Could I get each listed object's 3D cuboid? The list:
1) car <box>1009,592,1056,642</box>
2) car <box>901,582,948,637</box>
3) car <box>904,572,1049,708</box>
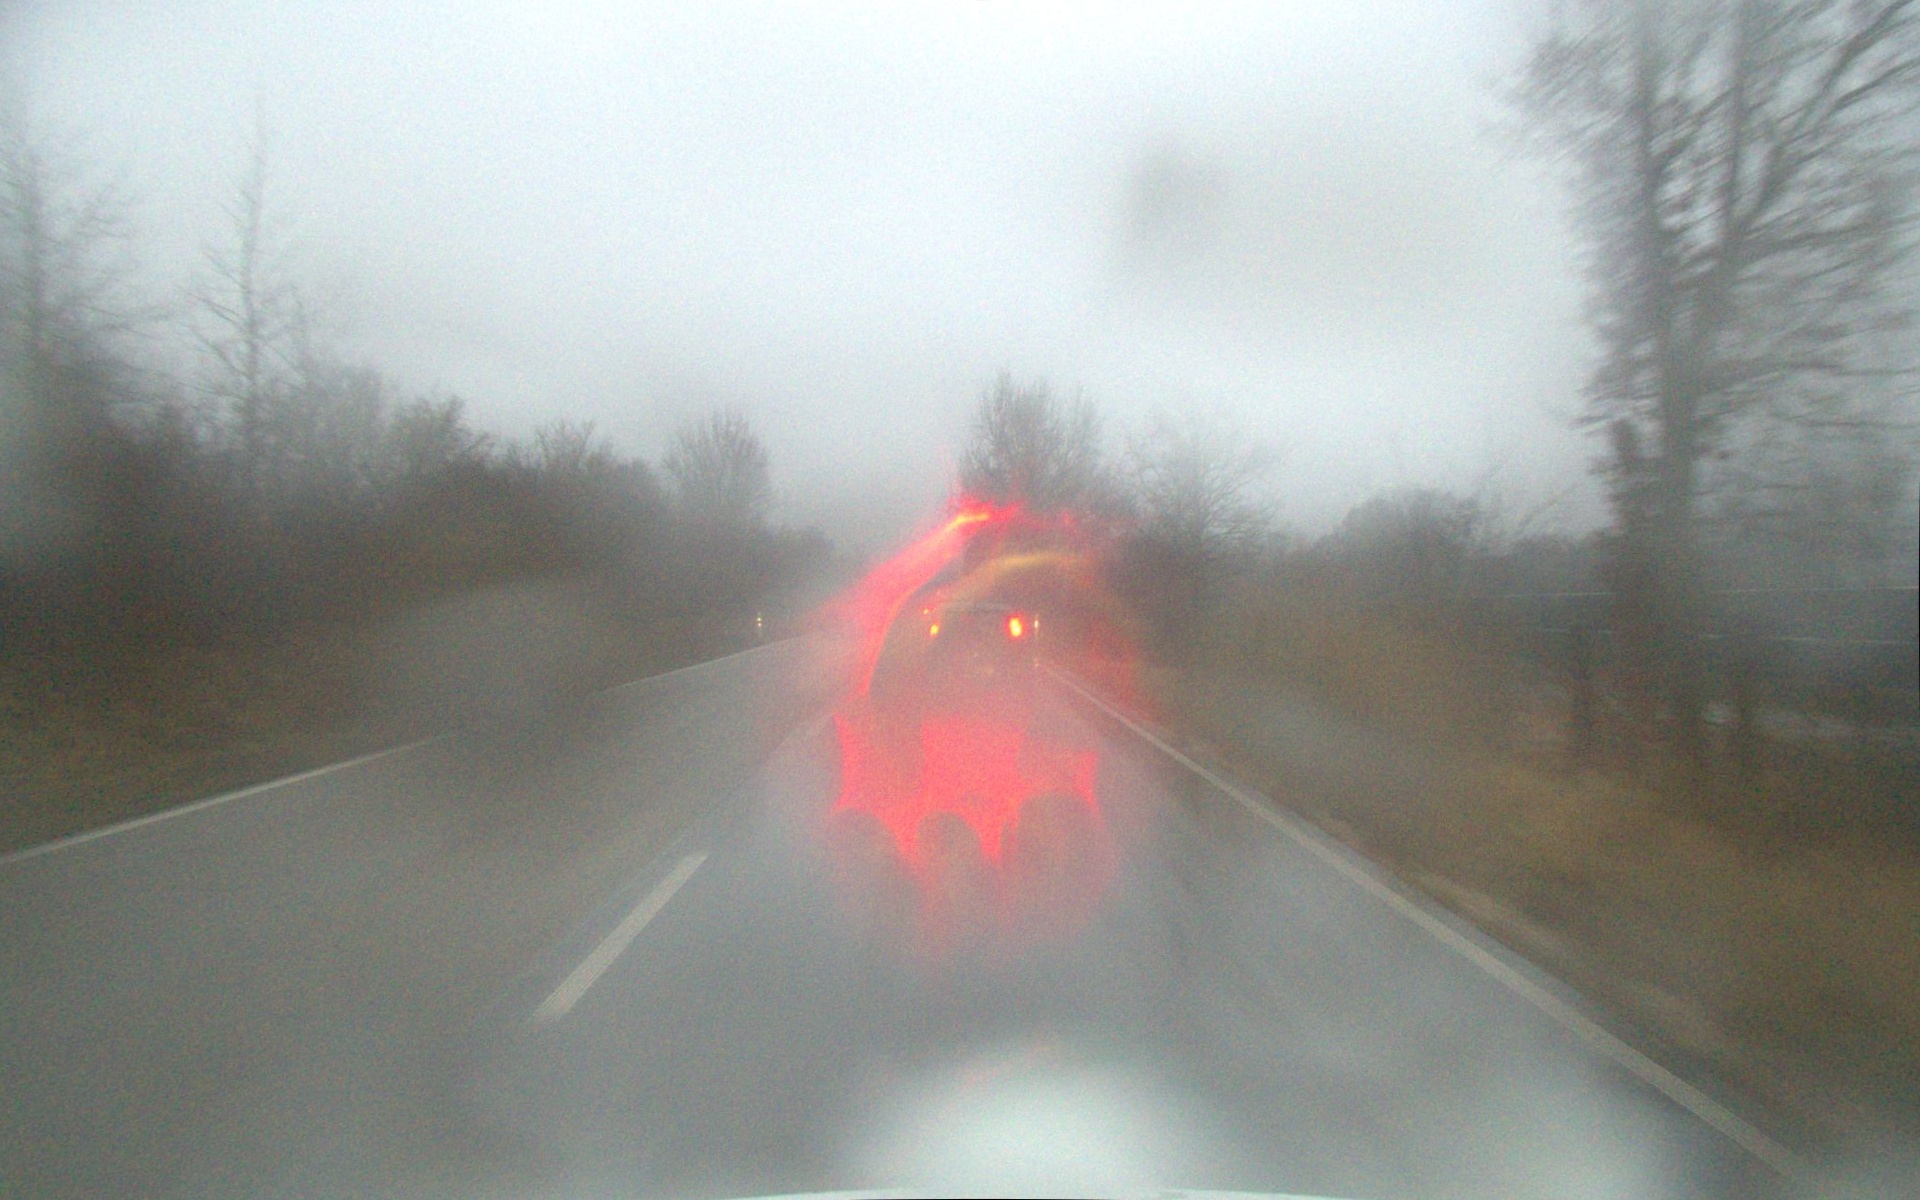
[{"bbox_3d":[2.445,0.544,56.157,1.531,1.619,3.489,1,0,2],"label":"car"},{"bbox_3d":[-1.246,0.321,59.370,1.542,1.907,3.709,1,0,1],"label":"car"},{"bbox_3d":[0.253,0.542,24.602,1.952,1.816,4.000,1,0,1],"label":"car"}]
